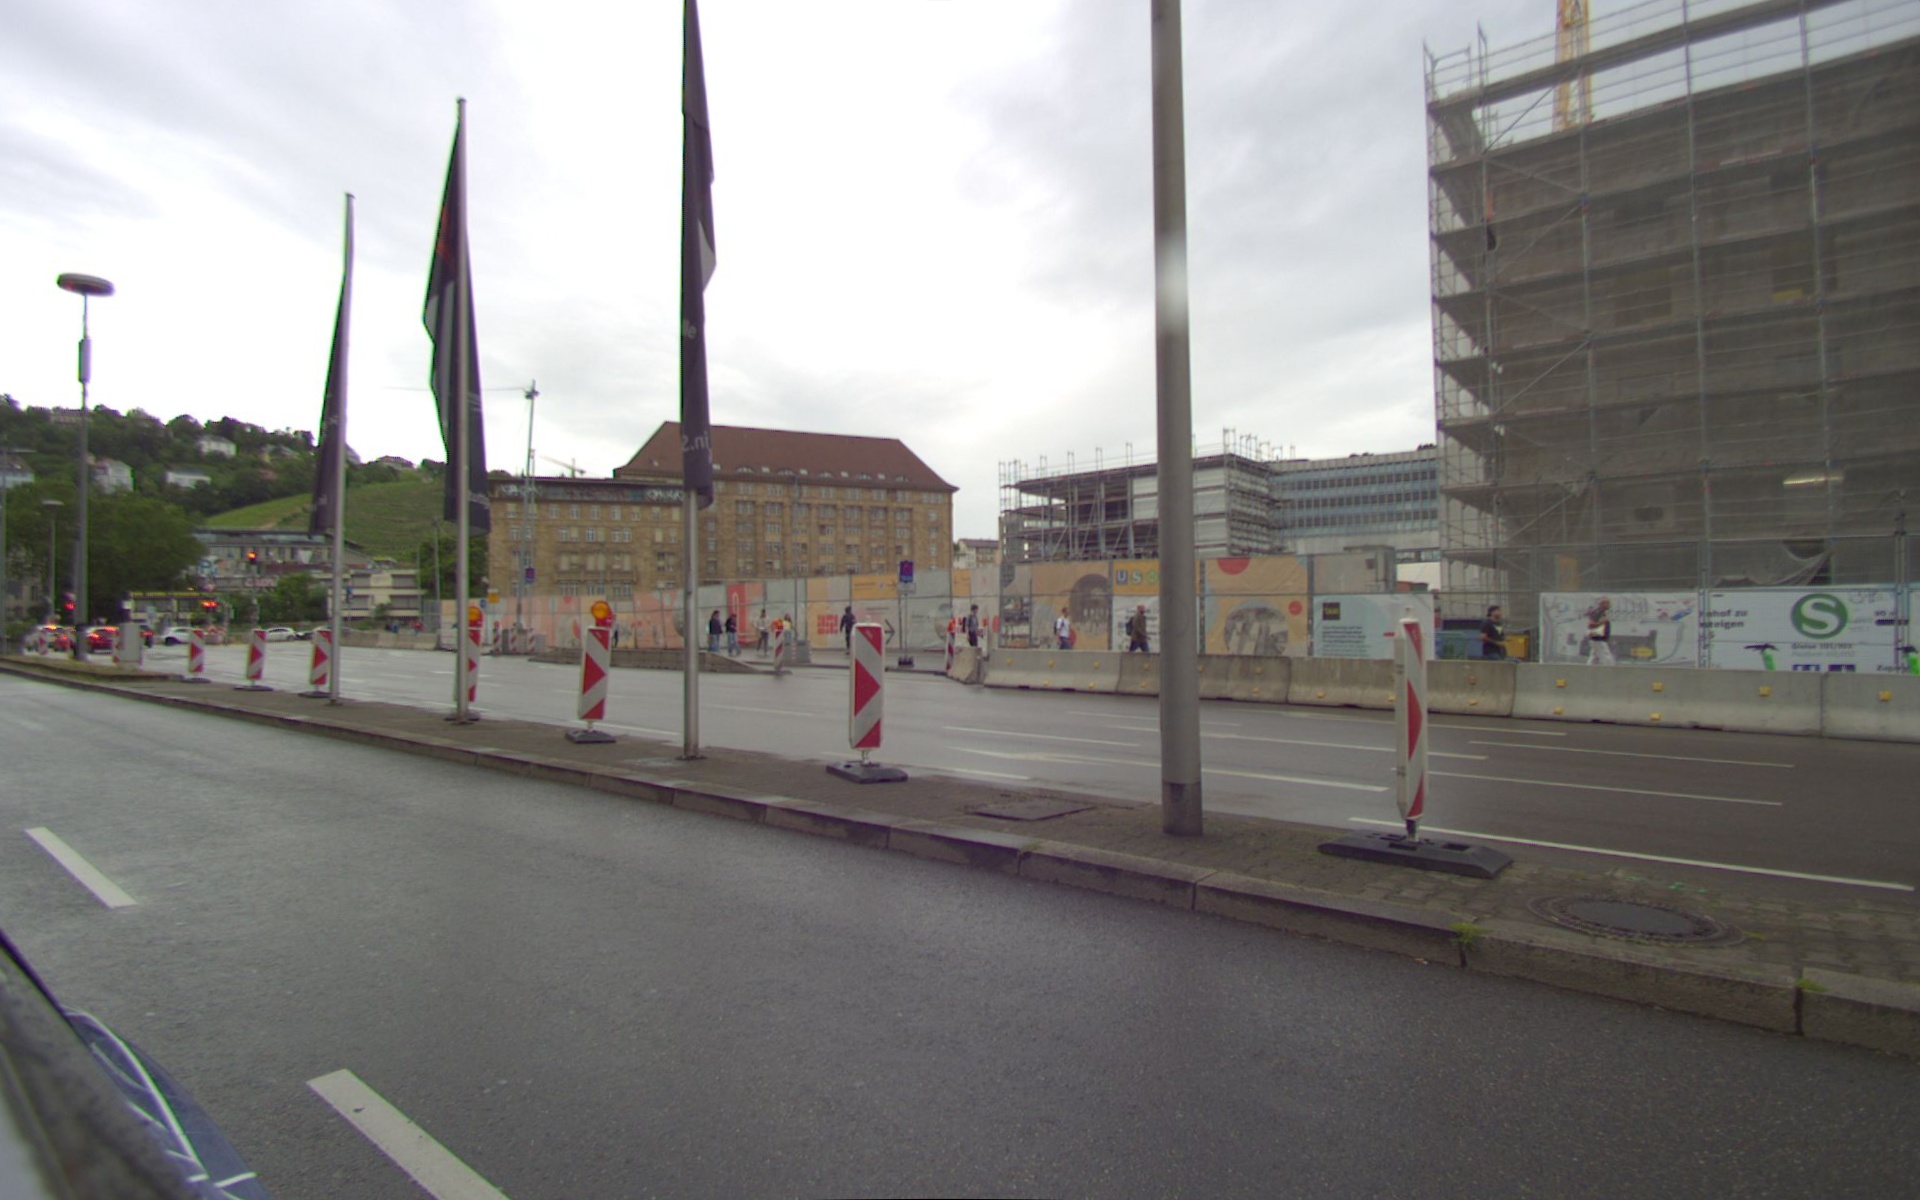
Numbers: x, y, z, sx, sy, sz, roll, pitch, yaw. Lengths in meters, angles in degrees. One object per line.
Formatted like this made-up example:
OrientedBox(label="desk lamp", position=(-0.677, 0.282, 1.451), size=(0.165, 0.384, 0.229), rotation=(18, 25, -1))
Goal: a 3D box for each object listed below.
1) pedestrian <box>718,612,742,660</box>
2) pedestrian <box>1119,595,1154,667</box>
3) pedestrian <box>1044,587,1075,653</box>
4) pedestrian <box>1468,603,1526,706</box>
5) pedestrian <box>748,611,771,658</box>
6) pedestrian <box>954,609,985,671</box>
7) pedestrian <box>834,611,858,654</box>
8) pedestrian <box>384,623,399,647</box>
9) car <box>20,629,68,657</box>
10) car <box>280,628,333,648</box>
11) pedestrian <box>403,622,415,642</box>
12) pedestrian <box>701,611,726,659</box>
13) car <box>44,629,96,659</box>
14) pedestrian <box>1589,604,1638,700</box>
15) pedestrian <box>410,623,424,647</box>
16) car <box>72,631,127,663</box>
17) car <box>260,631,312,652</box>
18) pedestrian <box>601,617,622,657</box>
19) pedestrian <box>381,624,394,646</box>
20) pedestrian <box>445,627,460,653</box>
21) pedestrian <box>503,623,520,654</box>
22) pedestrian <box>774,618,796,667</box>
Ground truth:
OrientedBox(label="pedestrian", position=(-8.998, 1.401, 39.565), size=(0.704, 1.850, 0.719), rotation=(-1, 0, -31))
OrientedBox(label="pedestrian", position=(4.570, 0.795, 26.217), size=(0.717, 1.850, 0.475), rotation=(-1, 0, 41))
OrientedBox(label="pedestrian", position=(2.826, 0.552, 28.686), size=(0.717, 1.850, 0.475), rotation=(-1, 0, 41))
OrientedBox(label="pedestrian", position=(9.946, 0.990, 18.737), size=(0.819, 1.850, 0.572), rotation=(-1, 0, 41))
OrientedBox(label="pedestrian", position=(-7.745, 1.329, 39.116), size=(0.704, 1.757, 0.565), rotation=(-1, 0, -29))
OrientedBox(label="pedestrian", position=(0.302, 1.205, 30.824), size=(0.717, 1.850, 0.579), rotation=(-1, 0, 41))
OrientedBox(label="pedestrian", position=(-4.298, 1.222, 38.305), size=(0.544, 1.628, 0.706), rotation=(-1, 0, 41))
OrientedBox(label="pedestrian", position=(-39.010, 2.384, 69.433), size=(0.544, 1.628, 0.706), rotation=(-1, 0, 41))
OrientedBox(label="car", position=(-59.305, 2.738, 65.503), size=(3.913, 1.707, 1.763), rotation=(-1, 0, 40))
OrientedBox(label="car", position=(-59.170, 3.428, 91.703), size=(3.934, 1.644, 2.005), rotation=(0, -2, -36))
OrientedBox(label="pedestrian", position=(-44.148, 2.565, 81.078), size=(0.544, 1.628, 0.706), rotation=(-1, 0, 41))
OrientedBox(label="pedestrian", position=(-9.314, 1.310, 38.222), size=(0.704, 1.746, 0.719), rotation=(-1, 0, -31))
OrientedBox(label="car", position=(-54.159, 2.645, 61.585), size=(3.913, 1.707, 1.763), rotation=(-1, 0, 40))
OrientedBox(label="pedestrian", position=(12.925, 1.017, 20.016), size=(0.717, 1.850, 0.475), rotation=(-1, 0, 41))
OrientedBox(label="pedestrian", position=(-37.418, 2.413, 69.754), size=(0.544, 1.628, 0.706), rotation=(-1, 0, 41))
OrientedBox(label="car", position=(-48.458, 2.622, 56.943), size=(3.914, 1.707, 1.762), rotation=(-2, -2, 41))
OrientedBox(label="car", position=(-68.687, 4.215, 103.152), size=(4.136, 1.871, 1.833), rotation=(-1, 0, -44))
OrientedBox(label="pedestrian", position=(-16.345, 1.735, 47.482), size=(0.720, 1.850, 0.656), rotation=(-1, 0, 41))
OrientedBox(label="pedestrian", position=(-42.673, 2.609, 75.394), size=(0.544, 1.628, 0.706), rotation=(-1, 0, 41))
OrientedBox(label="pedestrian", position=(-32.779, 2.564, 65.419), size=(0.544, 1.628, 0.706), rotation=(-1, 0, 41))
OrientedBox(label="pedestrian", position=(-24.498, 2.097, 55.279), size=(0.544, 1.628, 0.706), rotation=(-1, 0, 41))
OrientedBox(label="pedestrian", position=(-6.748, 1.644, 39.007), size=(0.651, 1.850, 0.557), rotation=(-1, 0, -29))
